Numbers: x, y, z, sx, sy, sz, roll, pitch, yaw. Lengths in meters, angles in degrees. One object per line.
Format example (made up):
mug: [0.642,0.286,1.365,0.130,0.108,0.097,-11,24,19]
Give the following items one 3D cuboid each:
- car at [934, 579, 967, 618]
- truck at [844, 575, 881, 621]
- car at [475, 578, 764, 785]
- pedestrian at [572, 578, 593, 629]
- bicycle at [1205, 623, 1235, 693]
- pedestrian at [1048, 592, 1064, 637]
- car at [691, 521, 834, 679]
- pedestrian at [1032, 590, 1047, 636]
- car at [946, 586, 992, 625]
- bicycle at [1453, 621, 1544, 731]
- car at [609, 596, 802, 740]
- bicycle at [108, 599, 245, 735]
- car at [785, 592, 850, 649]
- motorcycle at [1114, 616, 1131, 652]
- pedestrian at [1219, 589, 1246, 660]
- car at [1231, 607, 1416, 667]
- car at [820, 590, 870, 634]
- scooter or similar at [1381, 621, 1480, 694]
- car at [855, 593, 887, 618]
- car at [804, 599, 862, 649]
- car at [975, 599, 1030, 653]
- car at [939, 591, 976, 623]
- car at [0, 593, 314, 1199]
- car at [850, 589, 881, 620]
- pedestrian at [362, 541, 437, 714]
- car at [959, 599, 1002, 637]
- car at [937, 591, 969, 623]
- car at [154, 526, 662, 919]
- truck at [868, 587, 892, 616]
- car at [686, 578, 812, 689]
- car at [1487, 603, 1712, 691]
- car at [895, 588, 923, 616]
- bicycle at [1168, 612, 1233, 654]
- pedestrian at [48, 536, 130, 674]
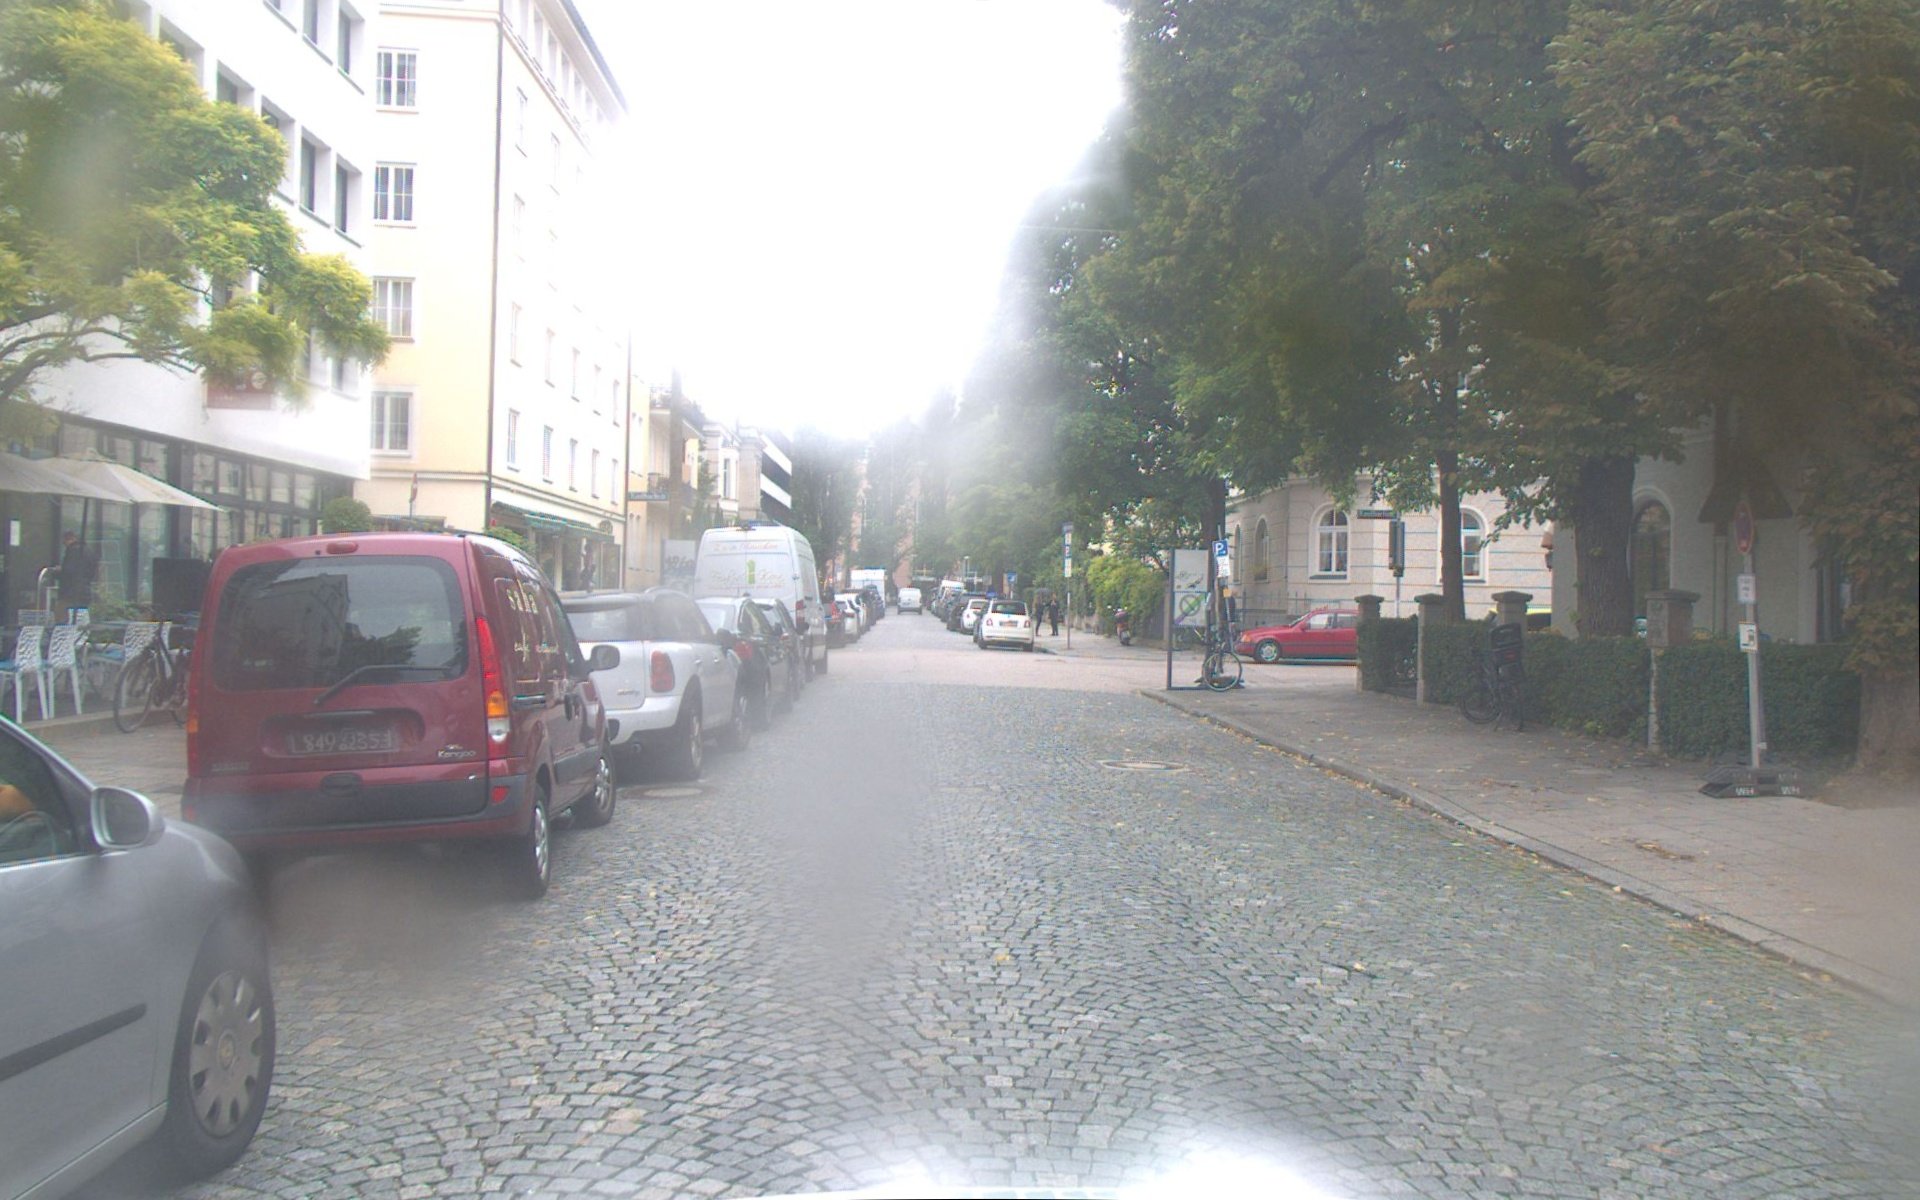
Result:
car: [-0.714,-0.128,115.656,1.858,2.468,5.608,5,0,-3]
truck: [-6.764,-0.169,114.834,2.458,3.085,6.381,-1,0,-3]
car: [-2.830,0.635,14.550,1.658,1.530,3.777,2,0,1]
pedestrian: [-12.463,0.119,54.607,0.511,1.671,0.629,2,-1,-3]
bicycle: [4.511,0.989,28.743,0.380,1.167,1.590,1,-1,5]
pedestrian: [3.966,0.583,68.341,0.615,1.840,0.660,2,-1,5]
car: [-3.504,0.015,30.441,1.936,2.619,5.793,-1,0,0]
pedestrian: [3.273,0.539,67.800,0.563,1.882,0.682,1,0,5]
car: [0.399,0.246,76.733,1.837,1.702,5.488,2,0,-2]
bicycle: [6.415,0.883,19.767,0.419,1.219,1.730,-4,0,-1]
car: [-2.910,0.718,19.778,1.691,1.490,4.472,-1,0,-1]
bicycle: [-7.394,0.603,15.694,0.353,1.195,1.911,2,0,0]
car: [-4.323,0.608,50.700,1.815,1.614,4.744,2,0,-4]
motorcycle: [5.077,1.061,51.659,0.355,1.109,1.403,2,-1,0]
pedestrian: [7.451,0.662,45.259,0.484,1.909,0.741,2,-1,-7]
car: [9.116,0.922,41.763,4.373,1.382,1.761,1,0,5]
car: [-4.630,0.494,67.017,1.738,1.676,4.390,2,0,-1]
scooter or similar: [7.918,0.955,27.824,1.570,1.193,0.405,0,-1,22]
car: [-5.531,0.356,102.826,1.901,1.485,4.055,2,0,-3]
car: [-4.239,0.763,55.559,1.738,1.563,4.539,1,0,-2]
car: [1.270,0.780,50.917,1.471,1.496,3.794,3,0,-1]
car: [-0.167,0.427,97.108,1.924,1.789,4.951,2,0,-3]
car: [-2.546,0.683,2.743,1.599,1.418,3.813,2,0,-4]
car: [-5.575,0.293,97.602,1.738,1.748,4.388,2,0,-3]
pedestrian: [-6.240,0.301,18.437,0.602,1.872,0.812,1,-1,-9]
car: [0.873,0.771,71.514,1.597,1.495,3.657,4,0,-2]
car: [-0.477,0.483,110.043,1.764,1.983,4.857,4,0,-3]
car: [-2.821,0.557,9.378,1.683,1.753,3.897,0,0,-2]
truck: [-6.882,0.124,143.116,1.953,2.388,4.066,2,0,-2]
car: [-3.152,0.482,25.314,1.629,1.508,3.979,2,0,-4]
car: [13.095,0.942,34.107,3.988,1.625,1.907,2,-1,9]
car: [-3.667,0.146,119.163,1.956,1.970,3.998,1,0,-2]
bicycle: [6.856,0.939,47.209,1.798,1.144,0.563,1,0,11]
pedestrian: [-11.030,0.048,20.968,0.544,1.689,0.783,3,1,0]
